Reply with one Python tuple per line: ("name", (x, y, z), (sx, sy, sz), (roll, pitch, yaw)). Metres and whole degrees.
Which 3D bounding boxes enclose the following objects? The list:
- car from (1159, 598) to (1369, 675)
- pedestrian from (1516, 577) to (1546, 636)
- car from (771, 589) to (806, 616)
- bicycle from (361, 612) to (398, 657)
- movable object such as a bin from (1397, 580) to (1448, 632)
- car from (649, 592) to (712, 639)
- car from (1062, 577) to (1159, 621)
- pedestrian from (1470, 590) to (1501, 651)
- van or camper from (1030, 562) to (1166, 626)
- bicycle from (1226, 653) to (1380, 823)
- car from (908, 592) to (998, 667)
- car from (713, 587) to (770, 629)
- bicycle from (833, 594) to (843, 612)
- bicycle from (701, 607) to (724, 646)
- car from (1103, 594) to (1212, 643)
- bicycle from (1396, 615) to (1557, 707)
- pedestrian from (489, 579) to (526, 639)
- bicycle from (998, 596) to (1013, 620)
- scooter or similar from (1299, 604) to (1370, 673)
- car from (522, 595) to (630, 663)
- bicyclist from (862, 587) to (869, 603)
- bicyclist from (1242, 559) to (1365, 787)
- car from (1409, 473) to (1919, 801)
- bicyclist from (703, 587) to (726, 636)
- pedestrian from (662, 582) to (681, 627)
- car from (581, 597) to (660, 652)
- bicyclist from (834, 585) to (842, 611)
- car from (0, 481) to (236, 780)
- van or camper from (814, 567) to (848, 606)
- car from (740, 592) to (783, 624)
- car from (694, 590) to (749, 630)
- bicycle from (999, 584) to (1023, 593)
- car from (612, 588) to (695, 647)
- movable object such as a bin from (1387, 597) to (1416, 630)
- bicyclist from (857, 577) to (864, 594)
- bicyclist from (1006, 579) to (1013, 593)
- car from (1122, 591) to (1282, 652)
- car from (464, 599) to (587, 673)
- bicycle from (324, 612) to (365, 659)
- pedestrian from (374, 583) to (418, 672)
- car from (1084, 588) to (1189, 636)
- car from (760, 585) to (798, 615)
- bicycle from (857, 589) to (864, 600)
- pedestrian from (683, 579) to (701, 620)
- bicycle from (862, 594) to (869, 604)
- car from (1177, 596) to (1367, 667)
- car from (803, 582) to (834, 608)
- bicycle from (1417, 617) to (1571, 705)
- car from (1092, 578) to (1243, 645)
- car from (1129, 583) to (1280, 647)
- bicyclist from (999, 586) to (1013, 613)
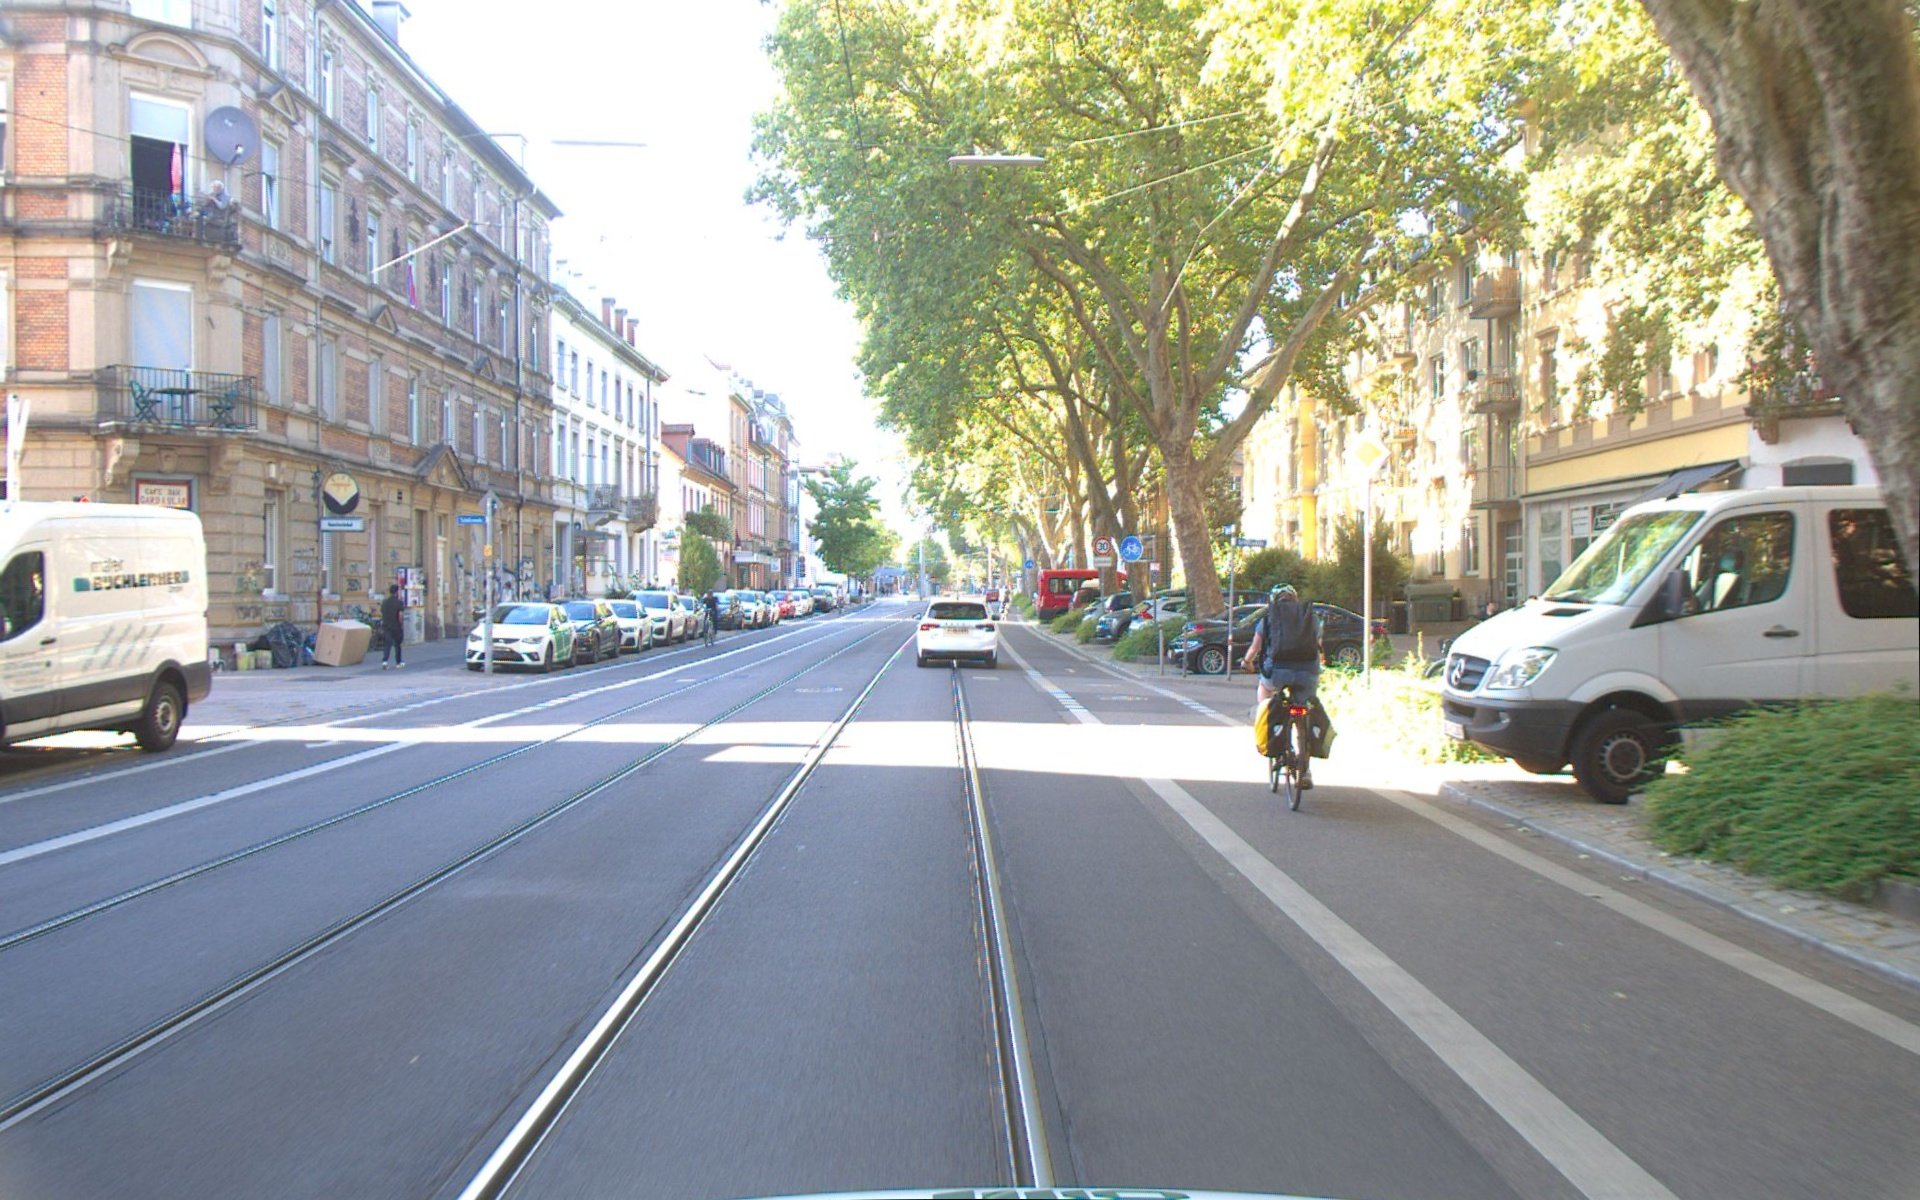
("car", (6.311, 0.733, 34.591), (4.014, 1.517, 1.830), (-1, 0, -3))
("pedestrian", (13.385, 0.144, 38.745), (0.477, 1.351, 0.684), (0, 0, 36))
("car", (-10.230, 0.139, 99.030), (1.790, 1.529, 4.686), (1, 1, -2))
("bicycle", (-14.529, 0.853, 41.426), (0.365, 1.052, 1.847), (-1, 0, -3))
("movable object such as a bin", (13.497, 0.158, 48.289), (1.143, 1.462, 1.117), (-2, 0, 0))
("car", (-9.706, 0.504, 57.664), (1.629, 1.547, 4.062), (1, 0, -3))
("car", (6.204, -0.037, 68.567), (3.742, 1.678, 1.766), (-2, -1, -3))
("pedestrian", (12.318, 0.465, 38.728), (0.476, 1.399, 1.054), (0, 0, 30))
("van or camper", (6.059, -0.294, 73.131), (5.699, 2.562, 2.287), (-2, 1, -3))
("bicycle", (2.515, 0.975, 12.409), (0.583, 1.022, 2.511), (2, 0, 0))
("car", (-0.200, 0.598, 35.494), (1.805, 1.506, 3.836), (1, 0, -2))
("car", (-9.547, 0.308, 72.612), (1.818, 1.733, 4.763), (-1, 1, 1))
("bicycle", (-7.929, 0.185, 107.443), (0.471, 1.105, 1.846), (-1, 0, 1))
("bicycle", (-7.645, 0.801, 51.139), (0.412, 1.170, 2.231), (-1, 0, -1))
("car", (6.706, 0.632, 56.372), (3.521, 1.627, 1.541), (-1, 0, 0))
("bicycle", (6.849, 0.796, 21.972), (1.998, 1.199, 0.413), (0, -1, 8))
("pedestrian", (-12.976, 0.253, 47.416), (0.650, 1.694, 0.767), (1, 0, 31))
("bicycle", (2.283, 0.398, 82.670), (0.666, 1.175, 2.964), (1, 0, 0))
("scooter or similar", (7.004, 0.722, 30.975), (1.279, 1.277, 0.341), (0, 0, 13))
("car", (-9.594, 0.679, 41.686), (1.705, 1.589, 4.785), (1, 0, -2))
("bicyclist", (-9.320, -0.508, 163.445), (0.625, 1.529, 1.070), (-2, 0, 1))
("bicyclist", (2.519, 0.515, 12.223), (0.602, 1.579, 0.935), (4, 0, 0))
("car", (6.702, 0.232, 12.883), (5.867, 2.322, 2.006), (-1, 1, 1))
("bicyclist", (-7.582, 0.355, 51.117), (0.570, 1.508, 0.807), (-1, 0, -1))
("pedestrian", (-13.237, 0.202, 75.996), (0.744, 2.049, 0.829), (0, 0, -2))
("car", (-9.573, 0.670, 46.851), (1.666, 1.445, 3.996), (1, 0, -4))
("bicyclist", (-7.930, -0.110, 107.469), (0.463, 1.664, 0.800), (-1, 0, 0))
("car", (-9.257, 0.259, 15.863), (2.022, 2.580, 5.668), (0, 0, 1))
("van or camper", (-10.833, -1.141, 139.369), (2.171, 3.195, 7.115), (1, 0, 1))
("car", (-9.951, 0.370, 83.185), (1.652, 1.502, 4.257), (1, 1, 0))
("car", (-9.709, 0.385, 67.503), (1.521, 1.542, 3.925), (-1, 1, 2))
("bicycle", (5.860, -1.309, 191.815), (2.711, 1.017, 0.593), (1, 0, 14))
("car", (-9.612, 0.515, 52.186), (1.750, 1.753, 4.718), (1, 0, 0))
("movable object such as a bin", (13.380, 0.415, 50.136), (0.732, 0.959, 0.465), (-2, 0, 0))
("bicyclist", (-9.437, -1.364, 156.392), (0.524, 1.663, 0.897), (-2, 0, 1))
("bicyclist", (5.702, -1.640, 191.855), (0.721, 1.616, 0.587), (-1, 0, 12))
("car", (6.381, 0.556, 43.873), (3.946, 1.506, 1.681), (-1, 0, -2))
("car", (-9.476, 0.747, 36.387), (1.705, 1.518, 4.044), (1, 0, -2))
("bicycle", (-14.551, 0.828, 39.120), (0.365, 1.052, 1.847), (-1, 0, -3))
("pedestrian", (-11.813, 0.561, 34.658), (0.671, 1.832, 1.055), (1, 0, -9))
("car", (6.266, 0.413, 58.887), (3.522, 1.544, 1.693), (-2, 0, -1))
("car", (-10.200, -0.018, 93.383), (1.536, 1.590, 3.450), (-1, 1, 4))
("bicycle", (-9.412, -0.533, 156.143), (0.474, 1.065, 2.040), (-2, 0, 2))
("pedestrian", (-12.318, -0.013, 75.991), (0.744, 1.853, 0.829), (0, 0, -3))
("bicycle", (-9.328, -0.075, 163.510), (0.488, 0.959, 1.922), (-2, 0, 2))
("car", (6.941, 0.689, 37.114), (4.010, 1.517, 1.682), (0, 0, 4))
("car", (-10.257, -0.377, 120.234), (1.925, 1.812, 4.936), (2, 0, -2))
("bicycle", (7.437, 0.844, 23.099), (1.998, 1.199, 0.413), (0, -1, 8))
("car", (6.181, 0.332, 49.512), (4.177, 1.748, 1.848), (-3, 0, -3))
("car", (6.837, 0.403, 46.485), (3.947, 1.672, 1.681), (-1, 0, -2))
("bicyclist", (2.297, -0.038, 82.986), (0.665, 1.362, 0.525), (1, 0, 0))
